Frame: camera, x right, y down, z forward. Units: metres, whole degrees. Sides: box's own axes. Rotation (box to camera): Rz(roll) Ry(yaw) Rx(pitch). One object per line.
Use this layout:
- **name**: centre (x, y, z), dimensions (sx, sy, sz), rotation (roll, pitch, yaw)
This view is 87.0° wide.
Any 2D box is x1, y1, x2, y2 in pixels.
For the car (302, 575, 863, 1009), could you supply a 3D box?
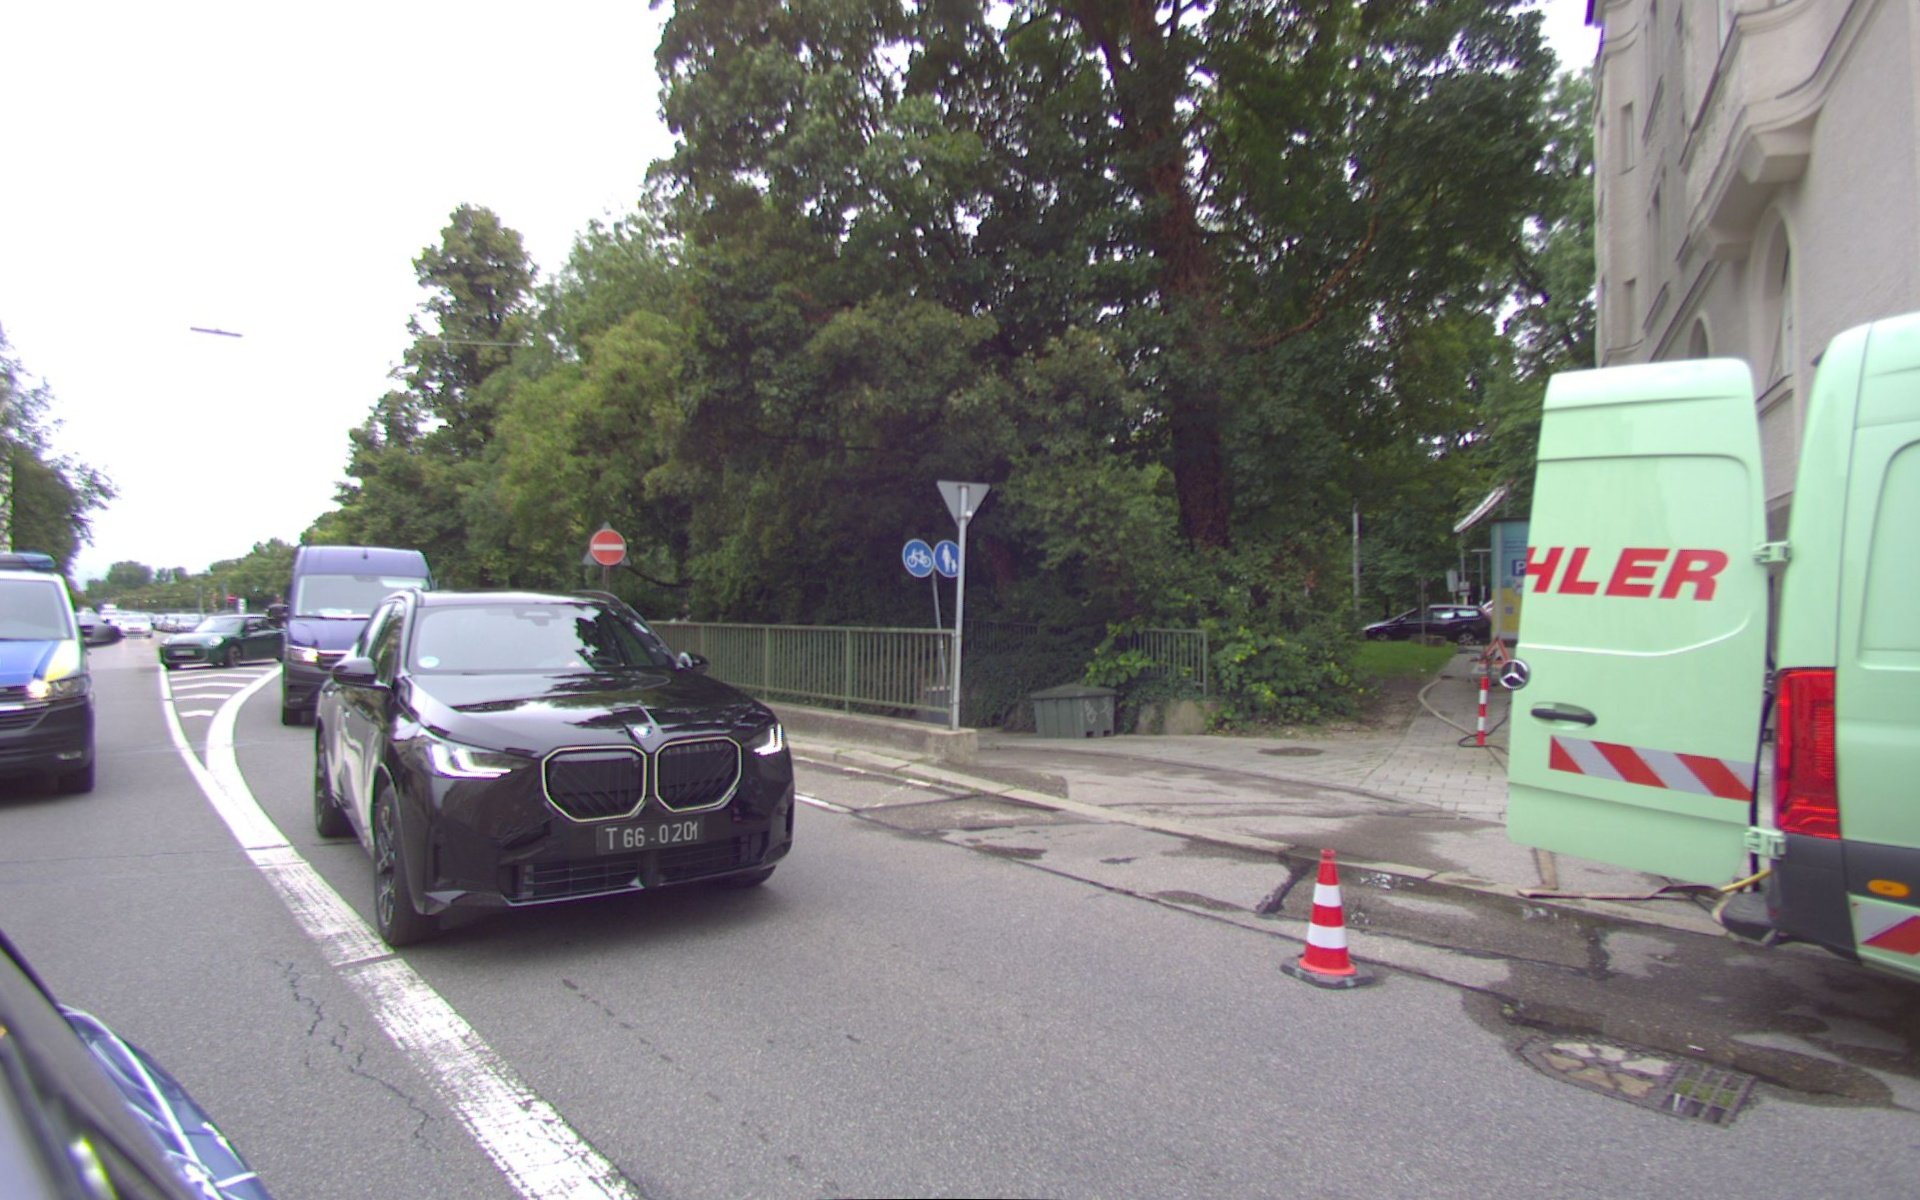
- **car**: centre (-2.532, 0.731, 5.977), dimensions (1.892, 1.577, 4.303), rotation (1, -1, -38)

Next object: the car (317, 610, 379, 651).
- **car**: centre (-28.242, 1.378, 46.784), dimensions (2.278, 1.742, 5.230), rotation (-1, 0, -30)

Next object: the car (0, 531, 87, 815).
- **car**: centre (-9.326, 0.599, 9.424), dimensions (1.799, 2.115, 5.641), rotation (0, -1, -41)

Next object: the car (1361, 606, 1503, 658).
- **car**: centre (15.896, 1.083, 34.326), dimensions (4.188, 1.616, 1.649), rotation (-2, 0, 22)

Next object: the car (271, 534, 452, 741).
- **car**: centre (-9.214, 0.471, 15.475), dimensions (1.973, 2.510, 6.250), rotation (0, 0, -32)

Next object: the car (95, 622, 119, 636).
- **car**: centre (-89.896, 3.050, 106.635), dimensions (1.810, 1.409, 4.005), rotation (2, -2, -41)

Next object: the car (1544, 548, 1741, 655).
- **car**: centre (21.742, 0.082, 32.550), dimensions (4.772, 3.199, 2.466), rotation (0, -1, 22)

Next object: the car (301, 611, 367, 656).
- **car**: centre (-24.684, 1.277, 40.058), dimensions (2.069, 1.602, 5.584), rotation (-1, 0, -30)

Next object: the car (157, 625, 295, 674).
- **car**: centre (-20.485, 1.356, 28.426), dimensions (1.474, 1.223, 3.615), rotation (0, -1, -5)

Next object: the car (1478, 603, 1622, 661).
- **car**: centre (20.932, 1.112, 36.107), dimensions (4.188, 1.961, 1.834), rotation (0, -1, 22)

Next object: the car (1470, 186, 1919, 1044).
- **car**: centre (5.116, 0.002, 2.220), dimensions (2.115, 2.592, 6.801), rotation (0, -2, -43)

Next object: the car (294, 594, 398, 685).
- **car**: centre (-15.261, 0.917, 25.278), dimensions (1.974, 1.951, 5.822), rotation (-1, 0, -30)

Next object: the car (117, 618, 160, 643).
- **car**: centre (-53.674, 1.996, 66.183), dimensions (1.967, 1.608, 4.009), rotation (2, -2, -36)
